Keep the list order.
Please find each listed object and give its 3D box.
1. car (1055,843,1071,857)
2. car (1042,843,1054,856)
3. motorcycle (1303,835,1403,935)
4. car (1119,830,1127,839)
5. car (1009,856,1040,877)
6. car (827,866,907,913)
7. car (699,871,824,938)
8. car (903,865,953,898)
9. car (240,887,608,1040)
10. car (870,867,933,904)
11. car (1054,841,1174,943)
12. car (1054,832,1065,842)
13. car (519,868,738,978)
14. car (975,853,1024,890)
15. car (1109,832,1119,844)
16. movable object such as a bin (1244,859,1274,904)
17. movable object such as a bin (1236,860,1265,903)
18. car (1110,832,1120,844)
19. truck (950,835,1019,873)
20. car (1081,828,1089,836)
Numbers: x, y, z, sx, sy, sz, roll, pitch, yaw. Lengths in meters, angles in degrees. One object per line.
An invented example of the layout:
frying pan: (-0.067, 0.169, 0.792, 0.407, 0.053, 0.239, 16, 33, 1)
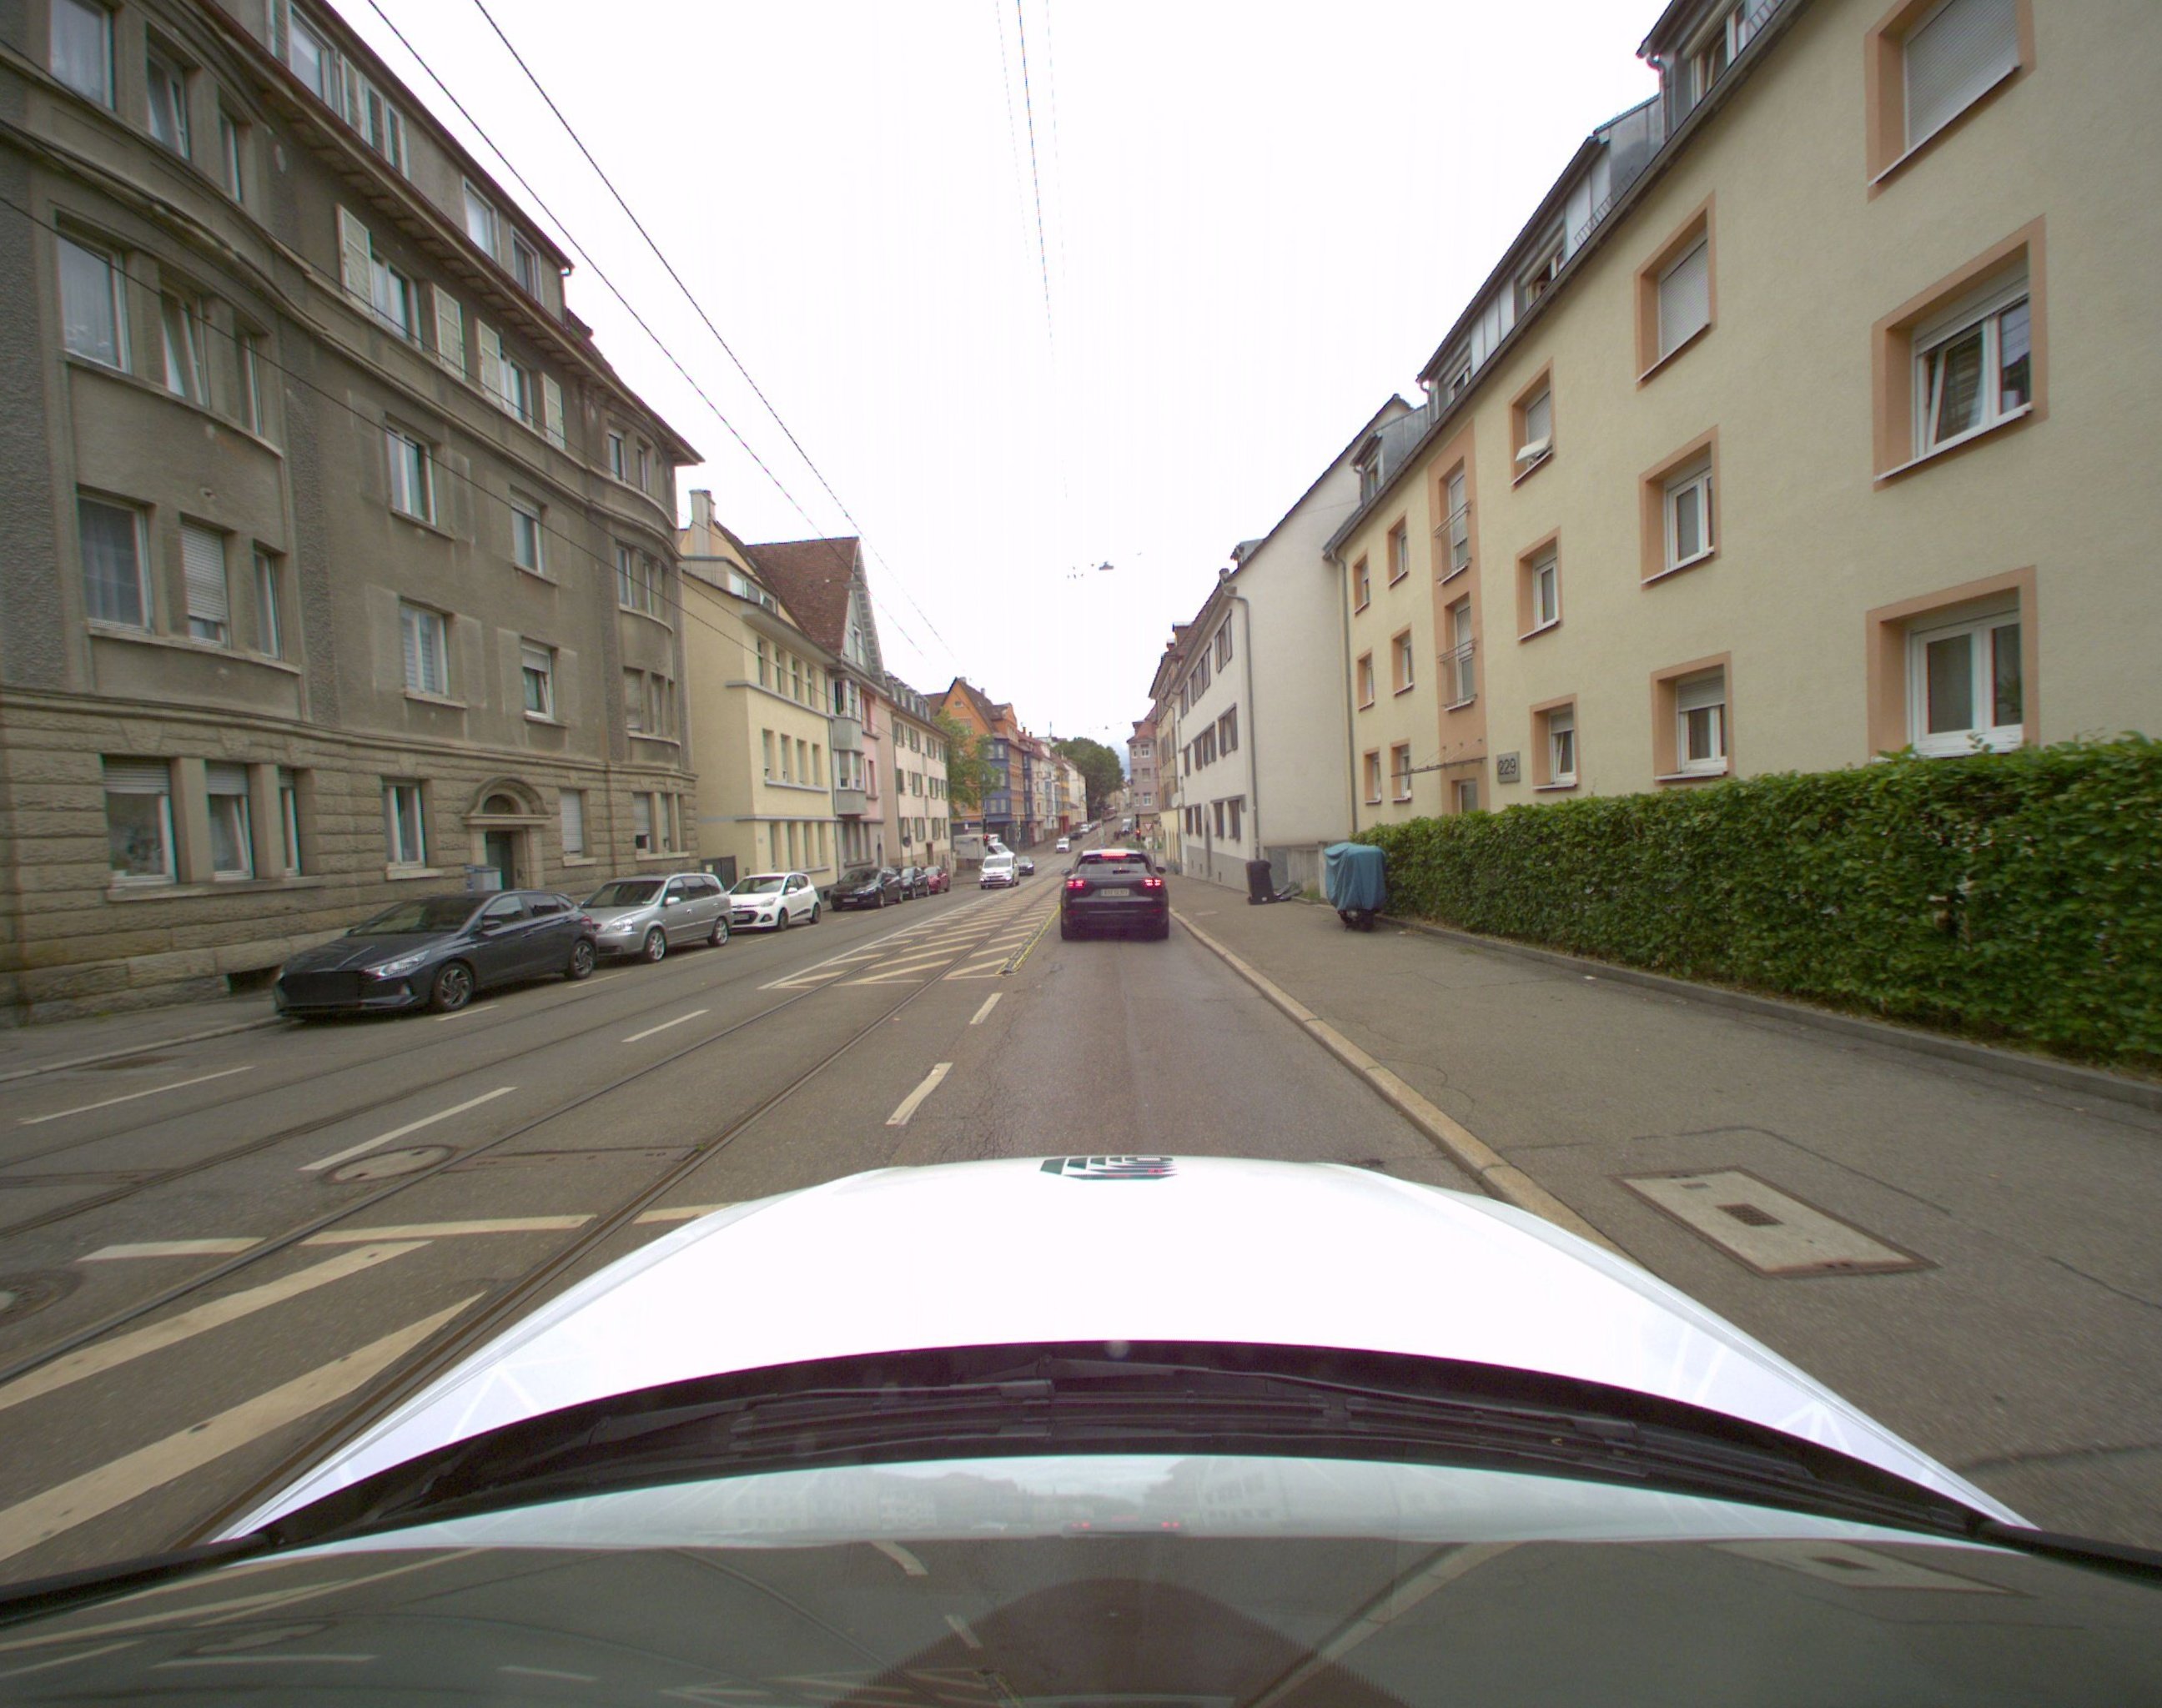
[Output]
car: (-2.356, -0.525, 106.026, 1.744, 1.759, 4.256, -3, 0, 2)
car: (-4.614, -0.638, 115.006, 1.389, 1.722, 3.360, -3, 0, 2)
motorcycle: (4.419, 0.463, 13.480, 0.835, 1.456, 2.554, -3, 0, 2)
car: (7.942, -3.670, 153.457, 1.389, 1.450, 3.360, -3, 0, 2)
car: (-4.313, 0.916, 62.592, 1.914, 1.424, 4.498, -3, 0, 1)
car: (-7.764, 1.228, 29.936, 1.615, 1.473, 4.555, -4, -1, 0)
car: (-8.234, 1.256, 21.327, 1.614, 1.463, 3.686, -4, -1, 2)
car: (-7.710, 1.336, 41.362, 1.615, 1.490, 4.047, -4, -1, 0)
car: (-8.446, 1.290, 11.027, 1.615, 1.463, 4.032, -4, -1, 0)
car: (-7.822, 1.342, 35.871, 1.729, 1.410, 4.001, -3, 0, 2)
car: (0.614, 0.663, 16.094, 1.986, 1.676, 4.001, -3, 0, 1)
car: (-3.409, -2.702, 127.865, 1.389, 1.450, 3.360, -3, 0, 2)
car: (-8.345, 1.168, 15.546, 1.615, 1.604, 4.351, -4, 0, 0)
car: (-4.342, 0.883, 44.012, 1.913, 1.818, 4.220, -3, 0, 3)
car: (4.934, -2.341, 121.253, 1.389, 1.722, 3.360, -3, 0, 2)
movable object such as a bin: (4.429, 0.673, 20.312, 0.586, 1.080, 0.692, -3, 0, 3)
movable object such as a bin: (4.436, 0.707, 21.321, 0.608, 1.080, 0.542, -3, 0, 3)
car: (5.344, -2.495, 128.241, 1.389, 1.722, 3.360, -3, 0, 2)
truck: (-9.395, -0.005, 79.180, 6.321, 3.370, 2.361, -3, 0, 26)
car: (0.786, -4.454, 165.566, 1.389, 1.450, 3.360, -3, 0, 2)
